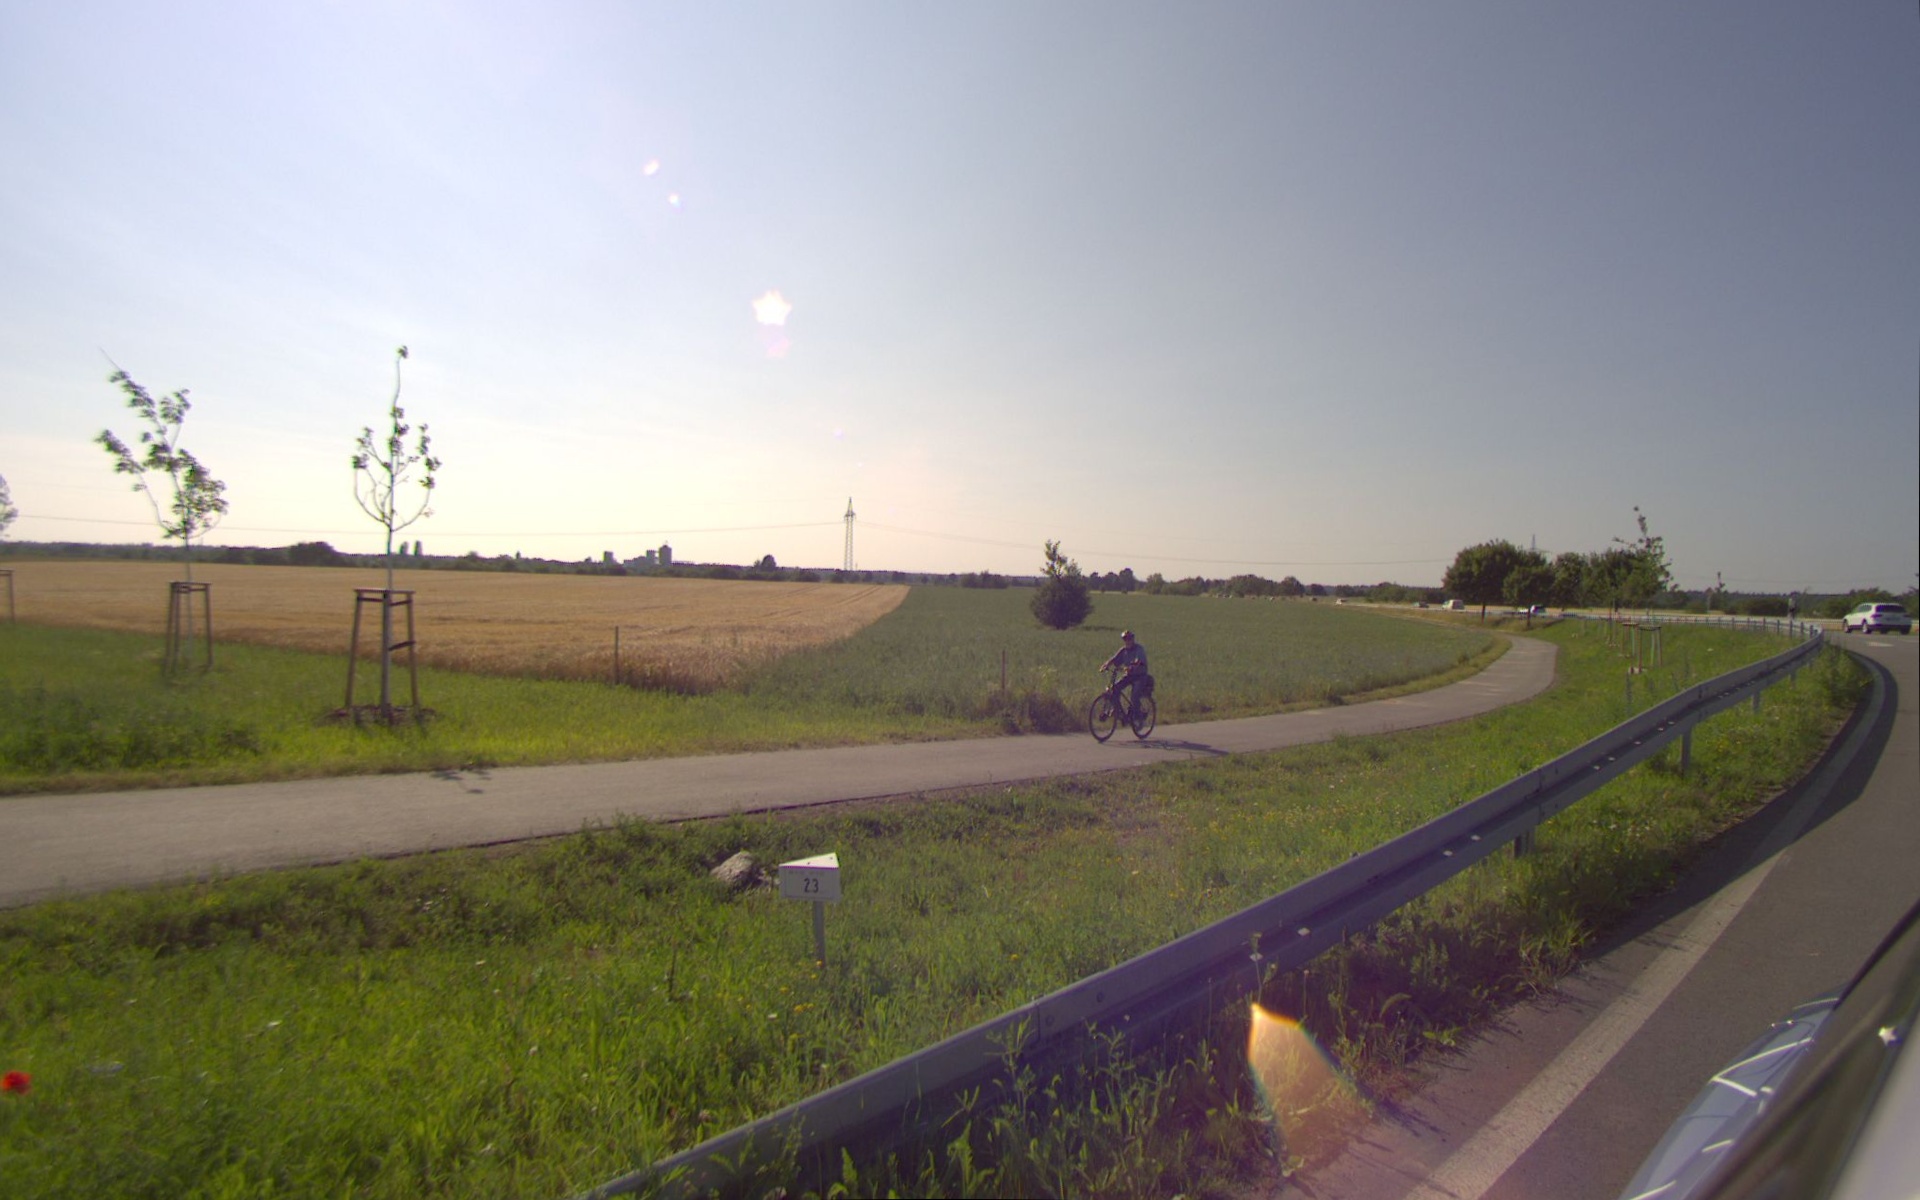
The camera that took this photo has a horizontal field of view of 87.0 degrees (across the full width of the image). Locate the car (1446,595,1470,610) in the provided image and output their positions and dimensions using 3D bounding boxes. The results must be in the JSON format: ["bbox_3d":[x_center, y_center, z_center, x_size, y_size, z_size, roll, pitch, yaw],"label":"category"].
[{"bbox_3d":[76.447,0.356,155.509,2.089,2.040,5.133,0,-2,12],"label":"car"}]

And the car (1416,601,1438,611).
[{"bbox_3d":[78.457,1.061,170.037,1.768,1.467,4.698,1,-2,4],"label":"car"}]

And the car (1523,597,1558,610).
[{"bbox_3d":[71.933,0.446,125.513,2.087,1.512,5.136,1,-2,9],"label":"car"}]

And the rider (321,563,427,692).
[{"bbox_3d":[-7.979,0.355,13.821,0.806,1.663,0.991,2,0,1],"label":"rider"}]

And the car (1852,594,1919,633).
[{"bbox_3d":[49.658,0.685,54.055,1.679,1.693,4.825,0,3,25],"label":"car"}]
